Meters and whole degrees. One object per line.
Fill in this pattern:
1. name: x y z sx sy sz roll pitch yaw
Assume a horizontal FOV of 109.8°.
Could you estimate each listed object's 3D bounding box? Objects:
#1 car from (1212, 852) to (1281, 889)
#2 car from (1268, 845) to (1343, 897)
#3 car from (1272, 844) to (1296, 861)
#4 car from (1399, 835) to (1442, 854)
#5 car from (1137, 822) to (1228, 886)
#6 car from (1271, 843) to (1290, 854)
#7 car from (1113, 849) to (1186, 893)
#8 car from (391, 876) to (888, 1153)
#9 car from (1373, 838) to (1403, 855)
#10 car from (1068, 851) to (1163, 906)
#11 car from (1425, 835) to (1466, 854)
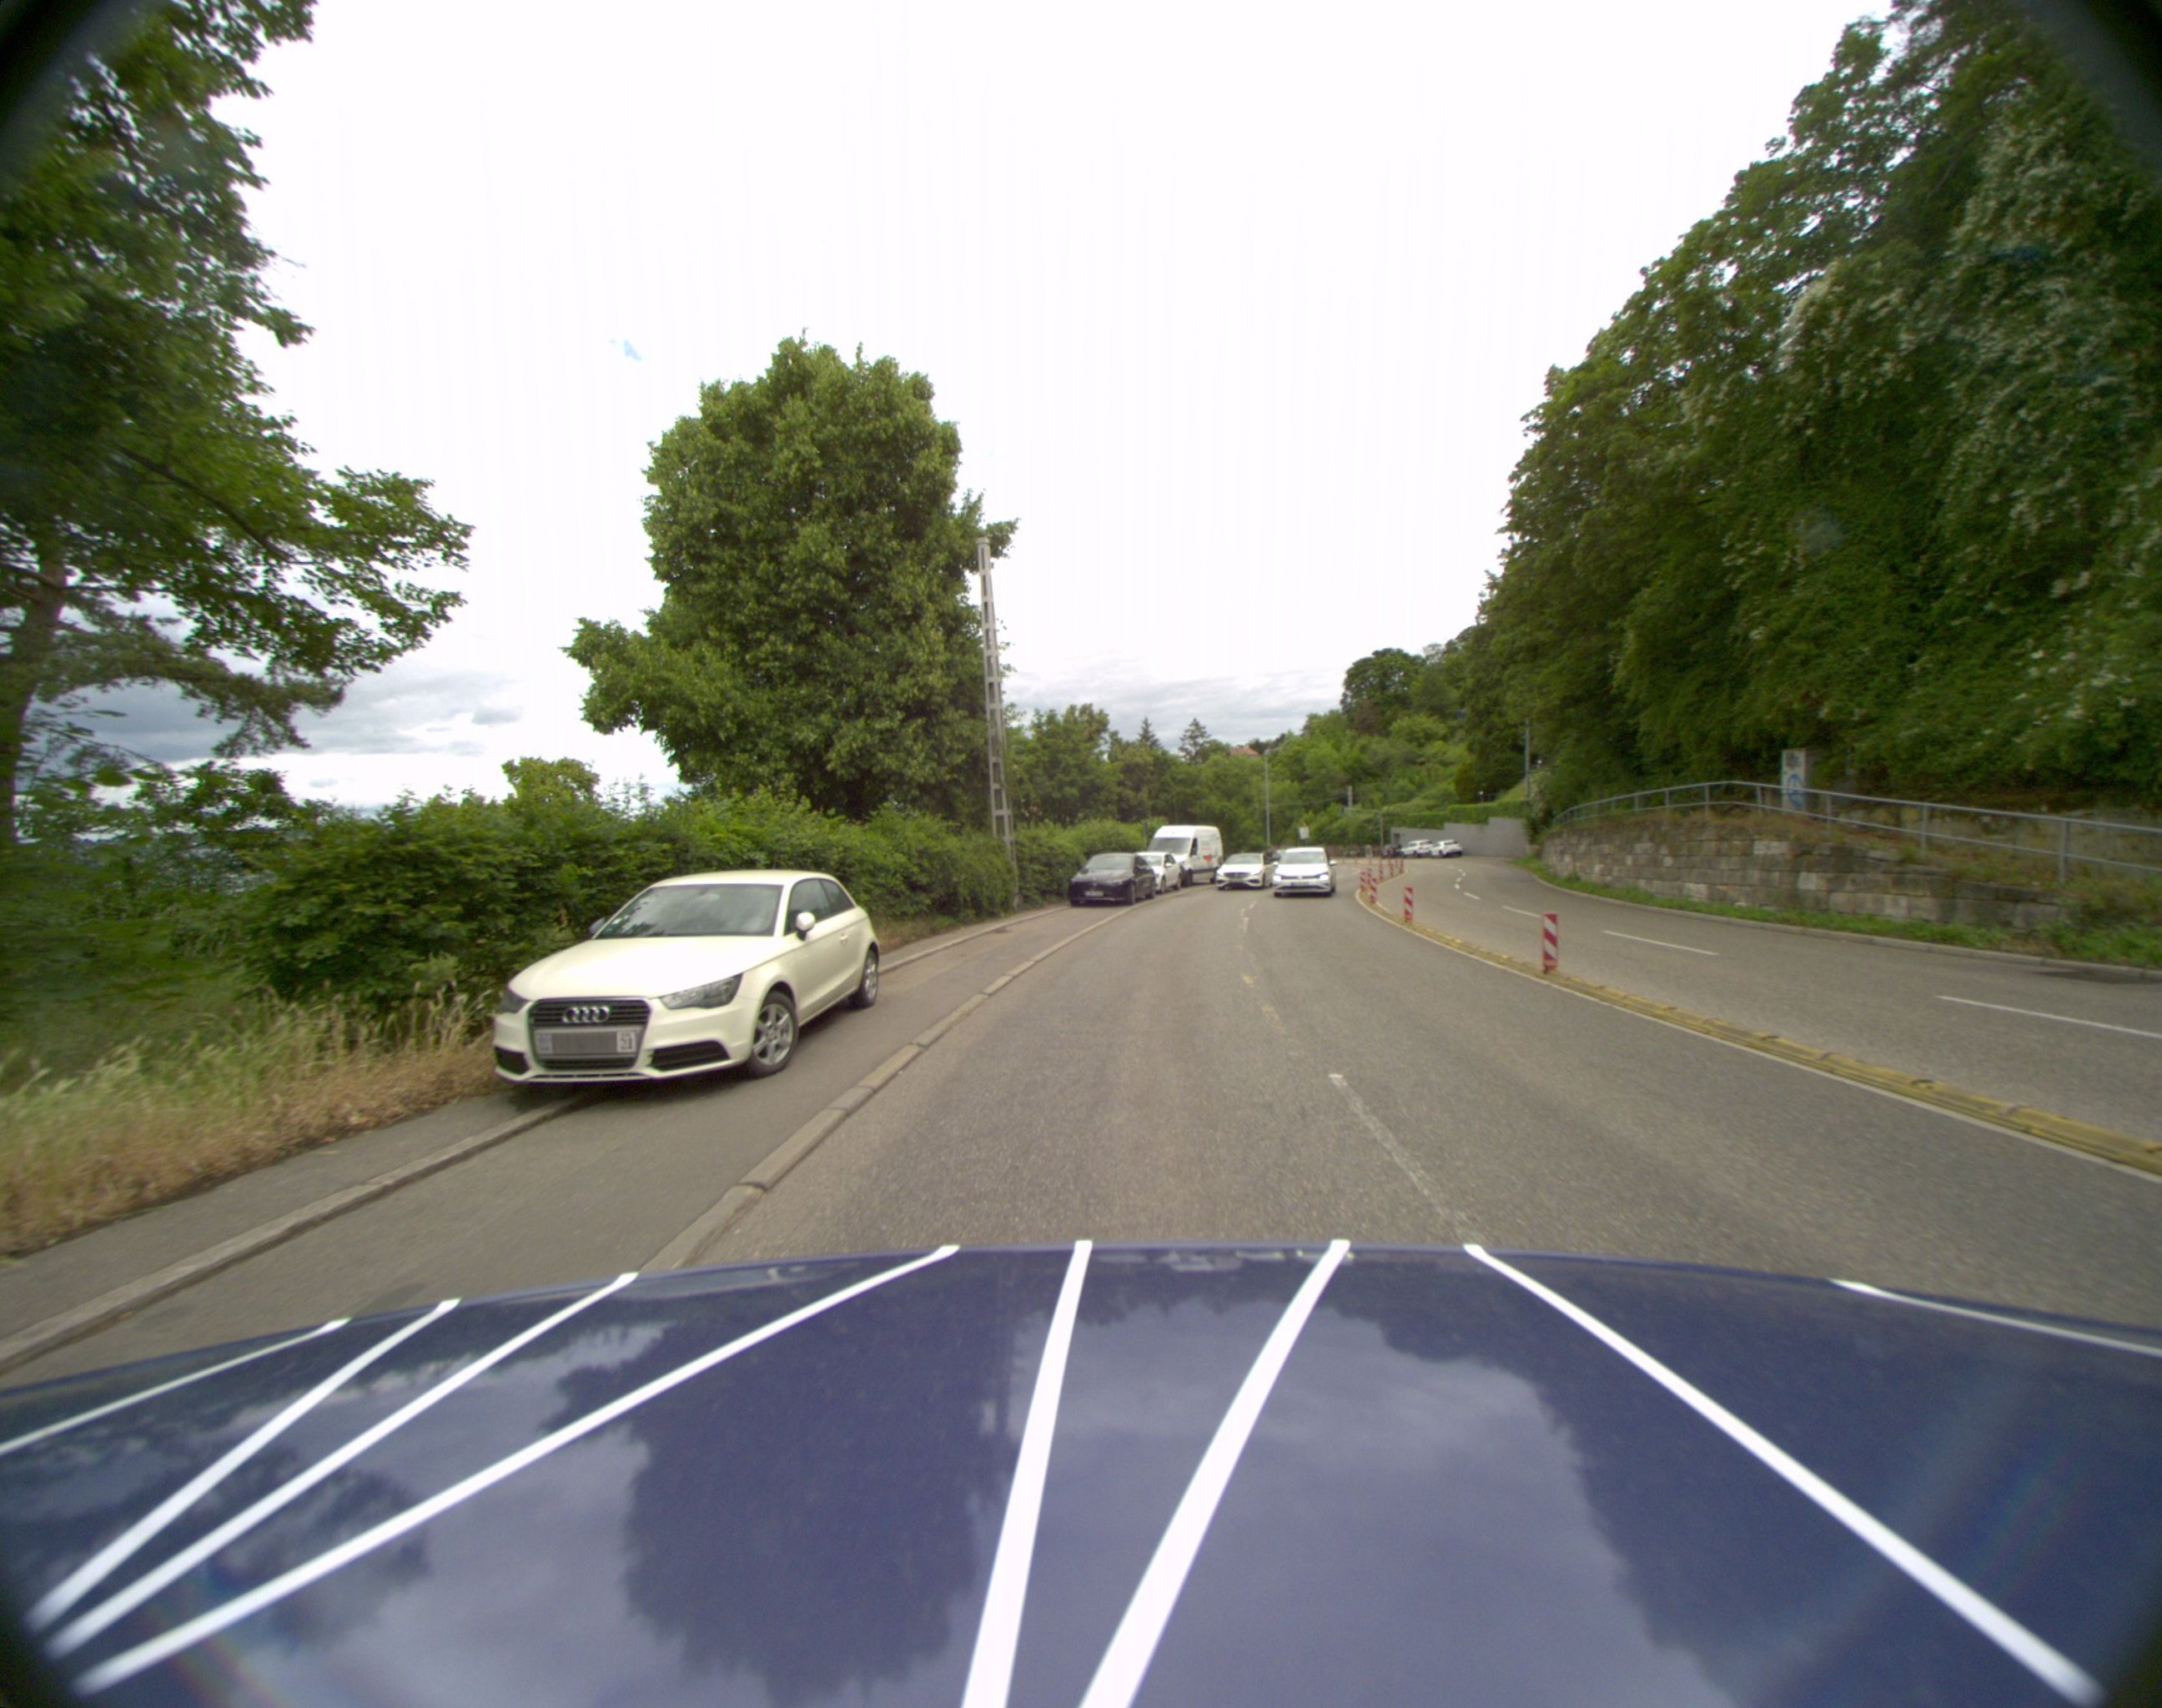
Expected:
1. car: 6.685 0.620 30.417 1.795 1.298 4.108 -3 -1 25
2. car: 7.460 0.495 25.005 1.882 1.569 4.006 -1 0 23
3. car: 23.453 -0.206 87.823 1.998 1.696 4.001 -4 1 5
4. car: 33.671 -0.934 75.588 1.864 1.721 4.760 -5 0 -2
5. car: 4.582 -0.053 33.270 2.085 2.509 5.855 1 1 27
6. car: 28.975 -0.771 110.367 1.715 1.458 3.660 -4 0 -1
7. car: 2.564 0.572 27.528 1.702 1.455 3.840 -1 1 20
8. car: -3.000 0.967 6.305 1.781 1.410 3.999 -1 1 0
9. car: 32.638 -0.753 80.772 1.716 1.563 2.957 -6 0 -4
10. car: 1.150 0.653 22.676 1.703 1.455 4.669 -1 0 17
11. car: 33.500 -0.882 69.935 1.837 1.563 4.476 -4 1 5
